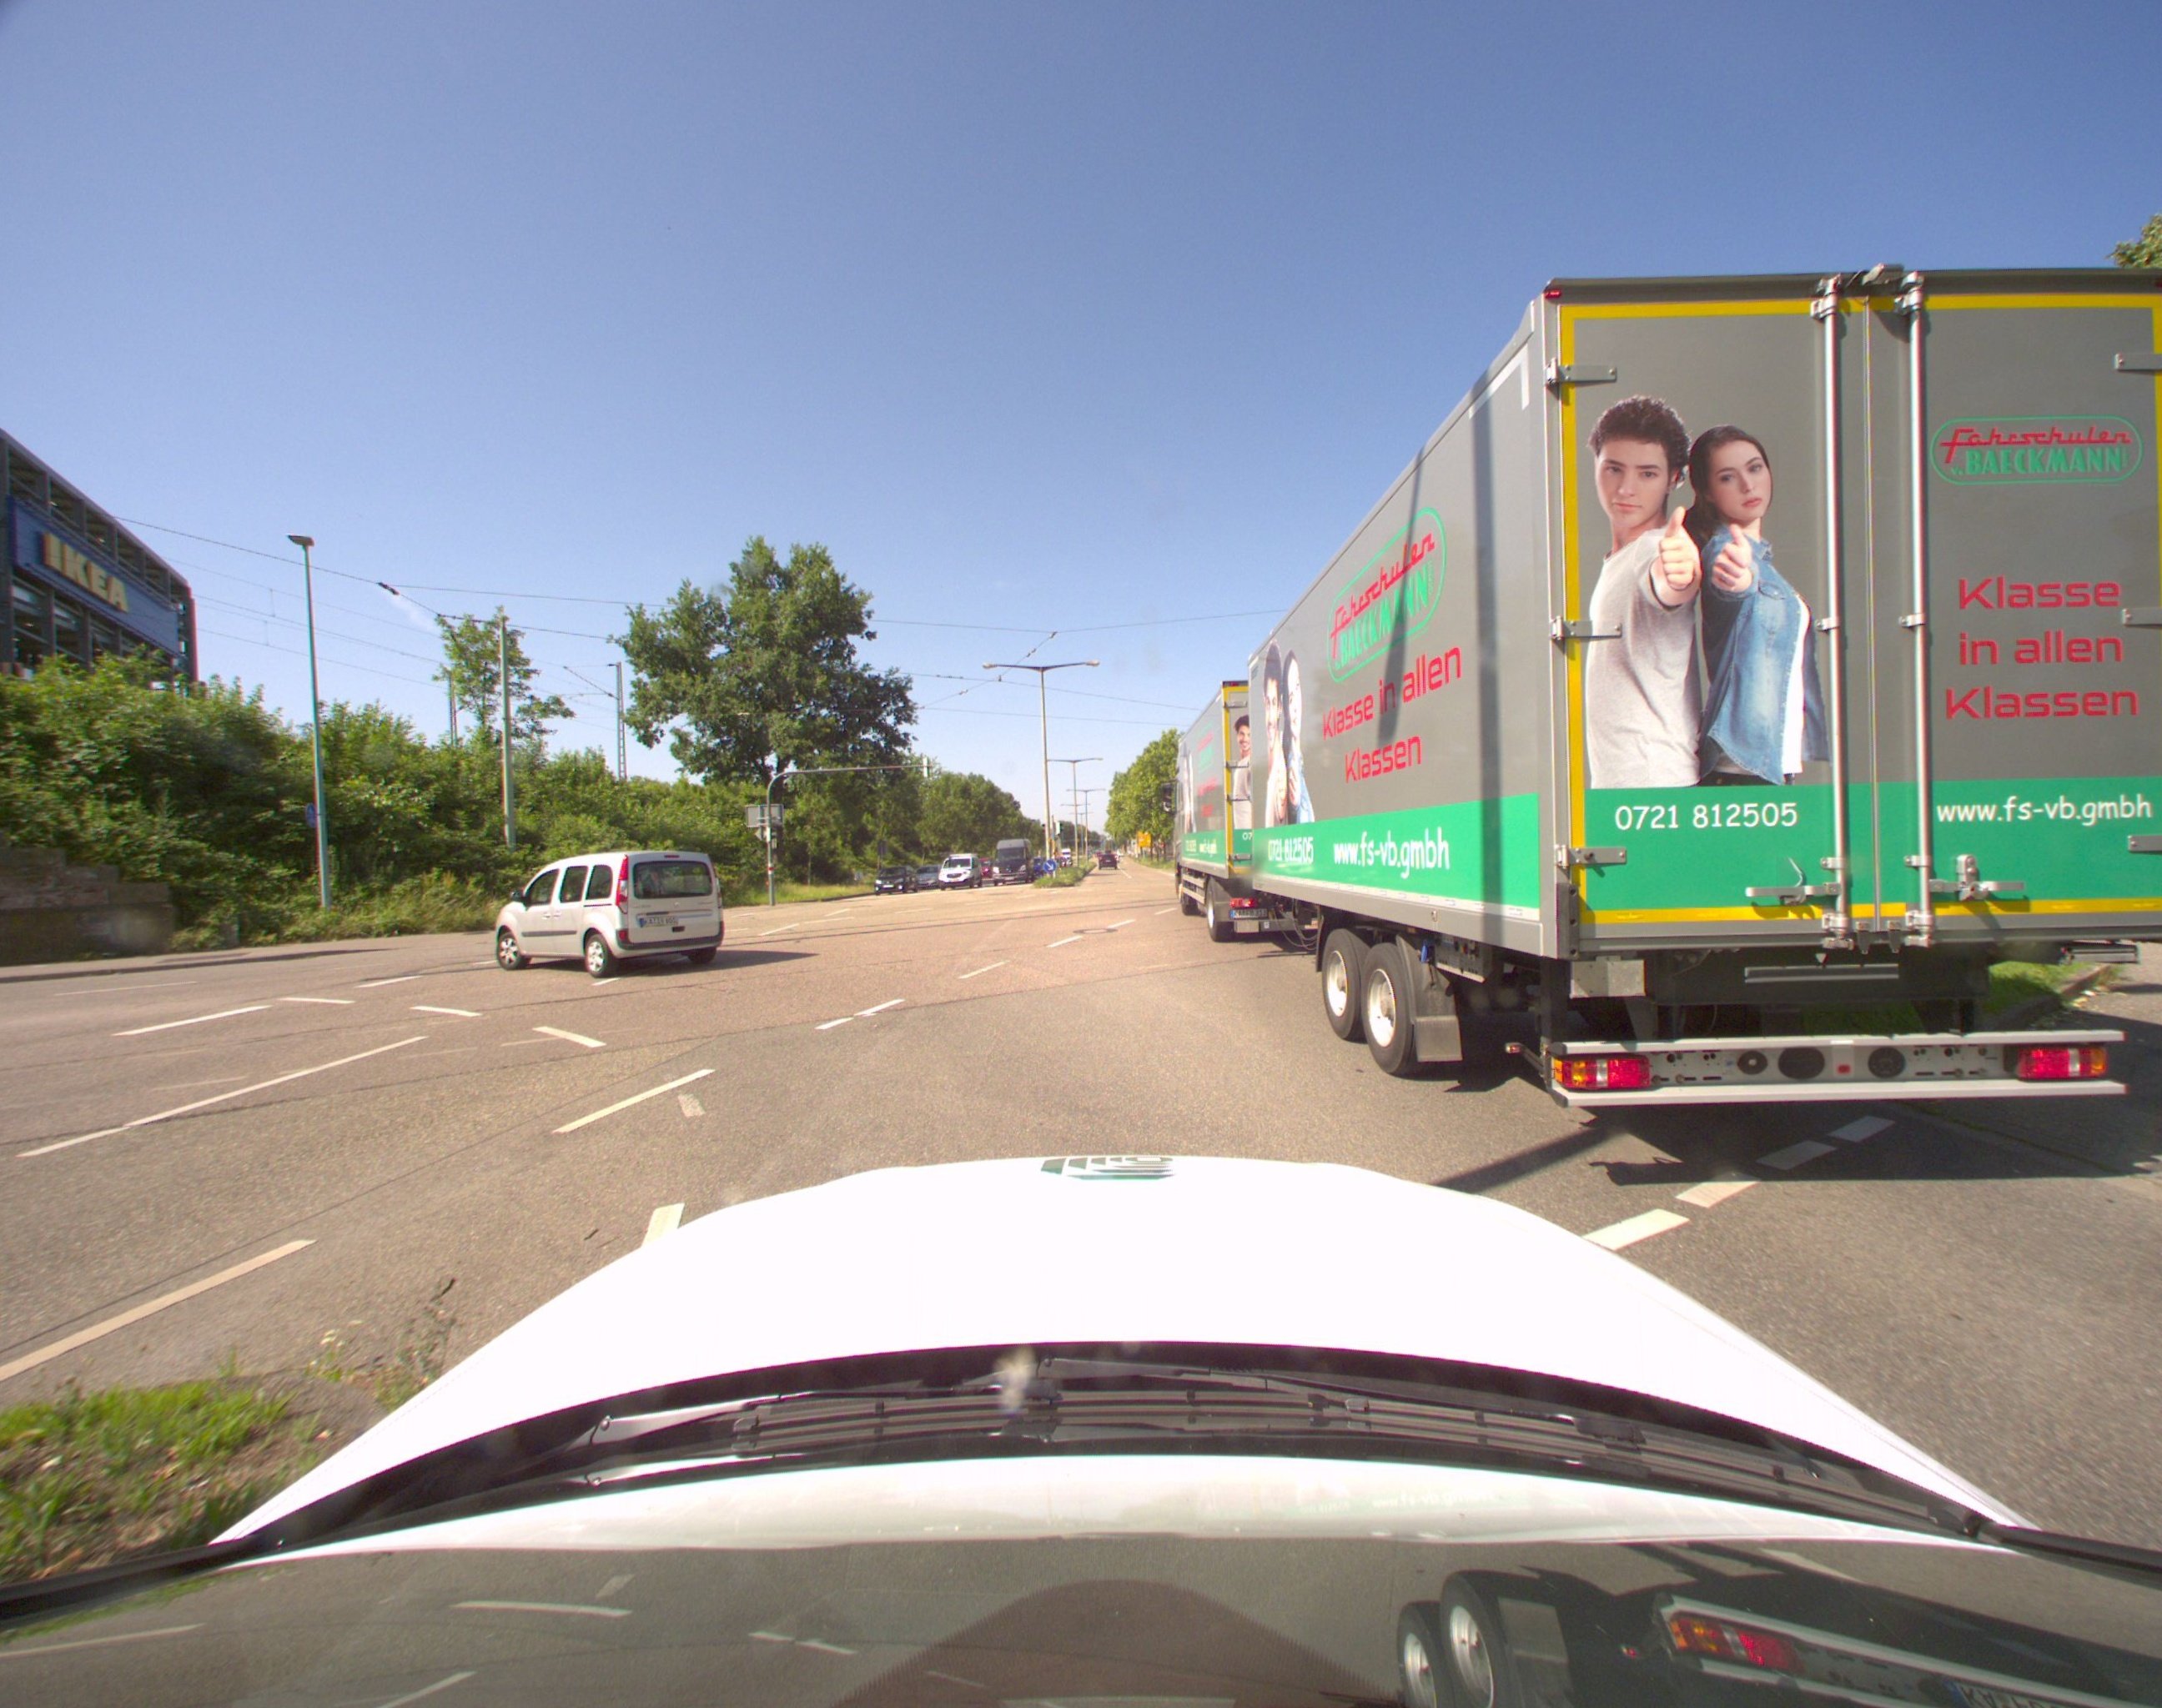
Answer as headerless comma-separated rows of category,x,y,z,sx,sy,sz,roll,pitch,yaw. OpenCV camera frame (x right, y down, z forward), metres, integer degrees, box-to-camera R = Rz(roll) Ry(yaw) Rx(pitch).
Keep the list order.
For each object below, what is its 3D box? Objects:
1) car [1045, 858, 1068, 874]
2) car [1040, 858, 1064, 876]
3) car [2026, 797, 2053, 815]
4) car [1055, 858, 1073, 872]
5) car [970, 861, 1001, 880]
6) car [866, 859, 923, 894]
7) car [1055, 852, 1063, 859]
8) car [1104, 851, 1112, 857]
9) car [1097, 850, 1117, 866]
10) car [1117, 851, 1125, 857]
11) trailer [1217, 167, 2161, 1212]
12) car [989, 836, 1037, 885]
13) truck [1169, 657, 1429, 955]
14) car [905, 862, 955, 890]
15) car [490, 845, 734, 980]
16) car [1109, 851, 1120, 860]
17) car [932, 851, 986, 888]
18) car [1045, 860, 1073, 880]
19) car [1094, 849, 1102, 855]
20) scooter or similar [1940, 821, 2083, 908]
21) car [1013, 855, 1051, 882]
car,-2.421,1.163,82.269,1.985,1.585,4.003,0,0,3
car,-2.705,1.256,77.196,1.986,1.640,4.002,0,0,2
car,121.179,-6.104,102.930,4.018,2.014,1.978,0,-1,-37
car,-2.027,1.284,97.242,1.986,1.640,4.002,0,0,2
car,-8.299,1.403,71.340,1.985,1.585,4.459,0,0,3
car,-9.669,1.136,42.571,1.904,1.641,3.739,-3,-1,2
car,-6.339,0.553,232.430,1.881,2.014,4.002,0,-1,2
car,7.131,-0.003,211.015,1.985,1.585,4.459,0,0,3
car,2.701,0.394,84.231,1.985,1.585,4.459,0,0,3
car,10.813,-0.080,219.347,1.985,1.585,4.459,0,0,3
trailer,3.128,-0.607,6.948,2.726,3.877,7.737,-2,-1,1
car,-3.860,0.383,46.884,1.986,2.607,5.136,-3,-1,2
truck,3.368,-0.605,15.207,2.719,3.889,8.726,-2,-1,2
car,-9.060,1.307,49.250,1.986,1.540,4.238,-3,-1,2
car,-7.499,0.814,12.936,3.948,1.838,1.803,-1,-1,34
car,5.713,0.296,138.484,1.985,1.585,4.459,0,0,3
car,-6.659,0.817,44.858,1.986,1.870,4.776,-3,-1,2
car,-1.817,1.290,67.183,1.985,1.585,4.003,0,0,3
car,4.396,-0.588,211.031,1.985,1.585,4.459,0,0,3
scooter or similar,13.217,0.132,11.621,0.433,1.148,1.373,-3,0,0
car,-3.217,0.957,54.288,1.985,1.585,4.003,-3,-1,3
